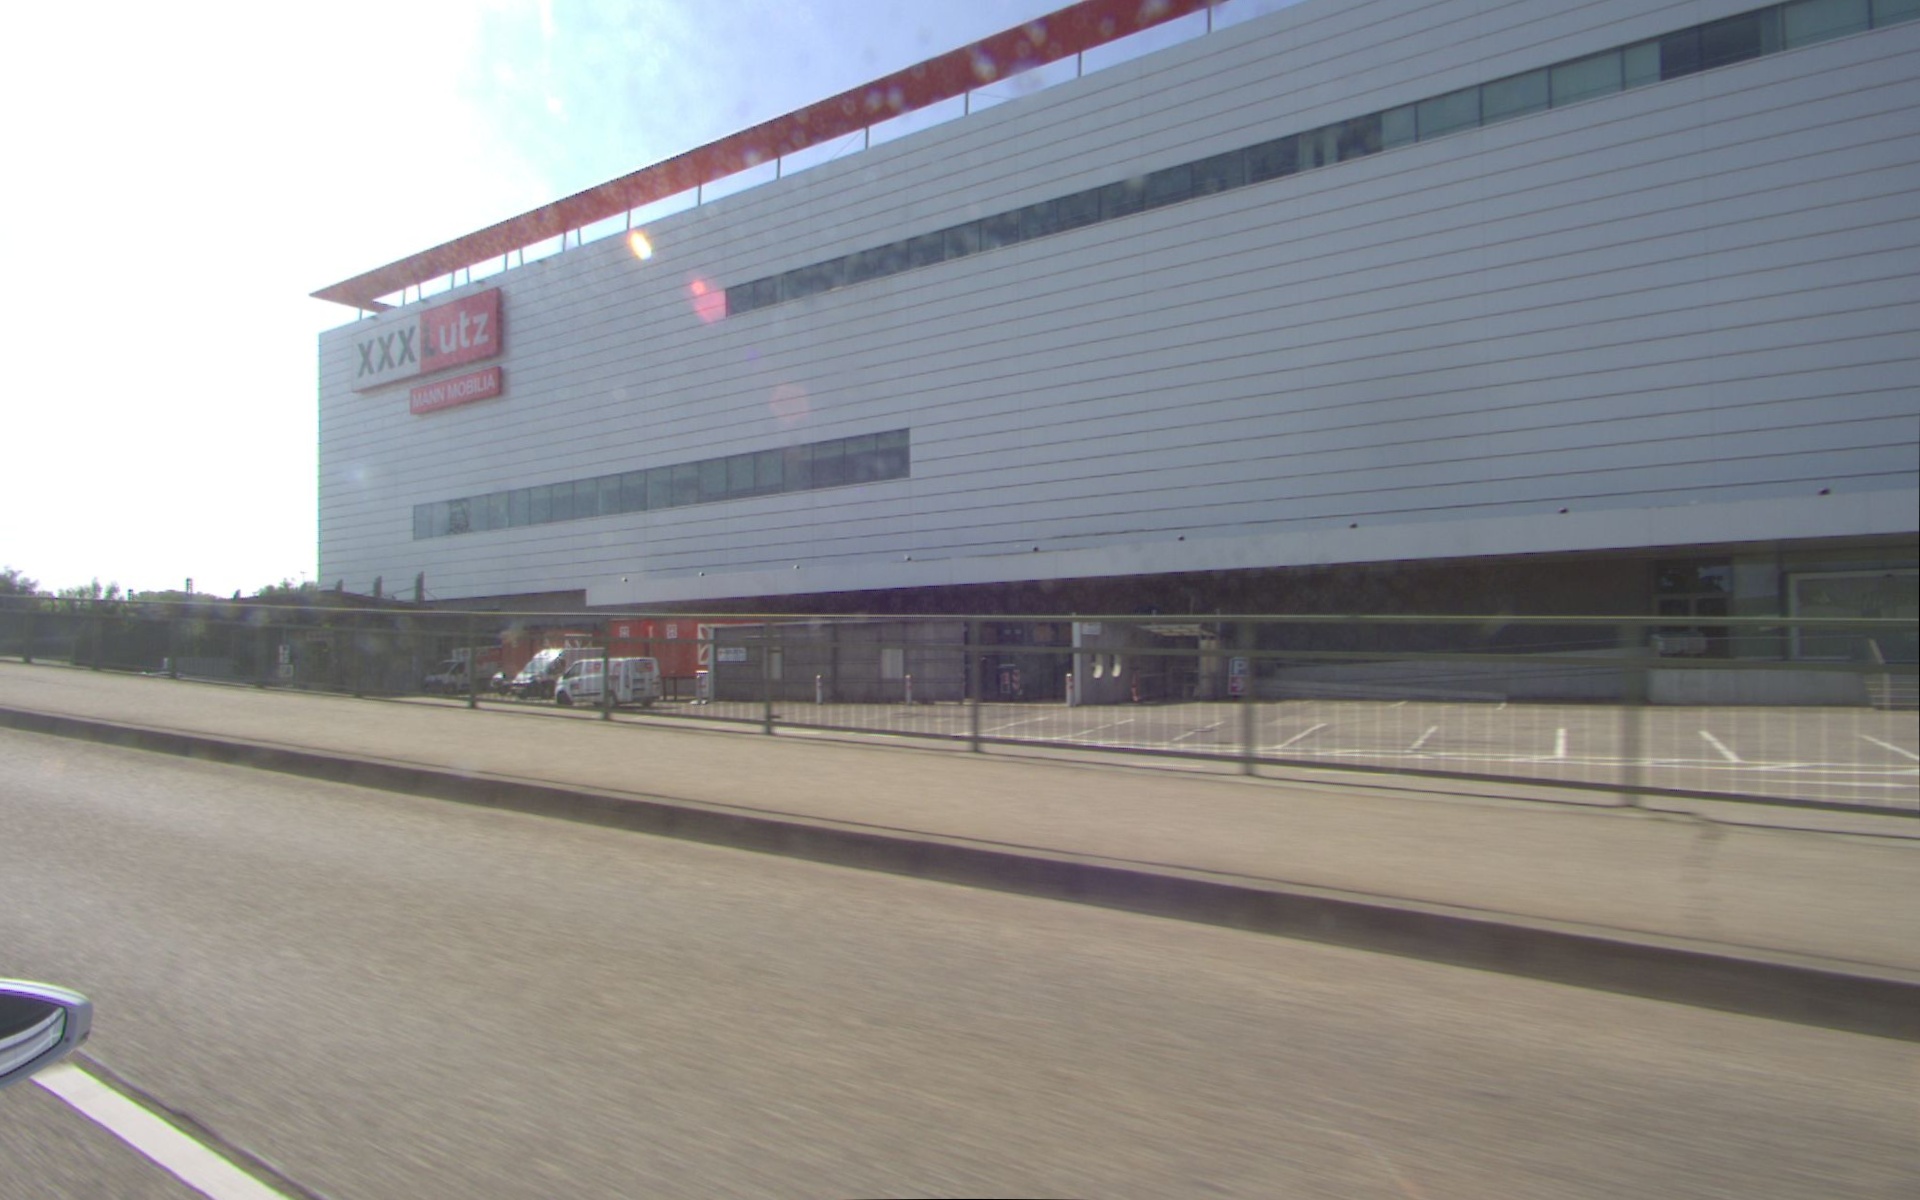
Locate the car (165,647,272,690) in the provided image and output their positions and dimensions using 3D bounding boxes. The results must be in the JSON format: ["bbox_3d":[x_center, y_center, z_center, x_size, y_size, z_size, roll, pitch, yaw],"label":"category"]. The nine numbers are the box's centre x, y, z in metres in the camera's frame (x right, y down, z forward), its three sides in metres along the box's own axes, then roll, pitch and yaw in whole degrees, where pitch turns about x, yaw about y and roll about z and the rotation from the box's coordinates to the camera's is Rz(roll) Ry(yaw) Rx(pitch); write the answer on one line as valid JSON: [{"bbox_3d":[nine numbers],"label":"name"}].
[{"bbox_3d":[-53.080,4.876,71.890,2.094,2.963,6.005,-1,-3,19],"label":"car"}]

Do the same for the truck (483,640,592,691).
[{"bbox_3d":[-25.611,3.963,60.994,2.103,2.963,5.981,-2,-3,34],"label":"truck"}]

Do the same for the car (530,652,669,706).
[{"bbox_3d":[-14.876,3.209,41.188,5.926,2.031,2.121,-2,-1,32],"label":"car"}]

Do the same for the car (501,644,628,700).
[{"bbox_3d":[-19.917,3.614,50.804,2.101,2.653,5.987,-2,-3,31],"label":"car"}]

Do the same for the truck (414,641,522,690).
[{"bbox_3d":[-31.580,4.170,64.465,2.103,2.963,5.981,-2,-3,34],"label":"truck"}]
